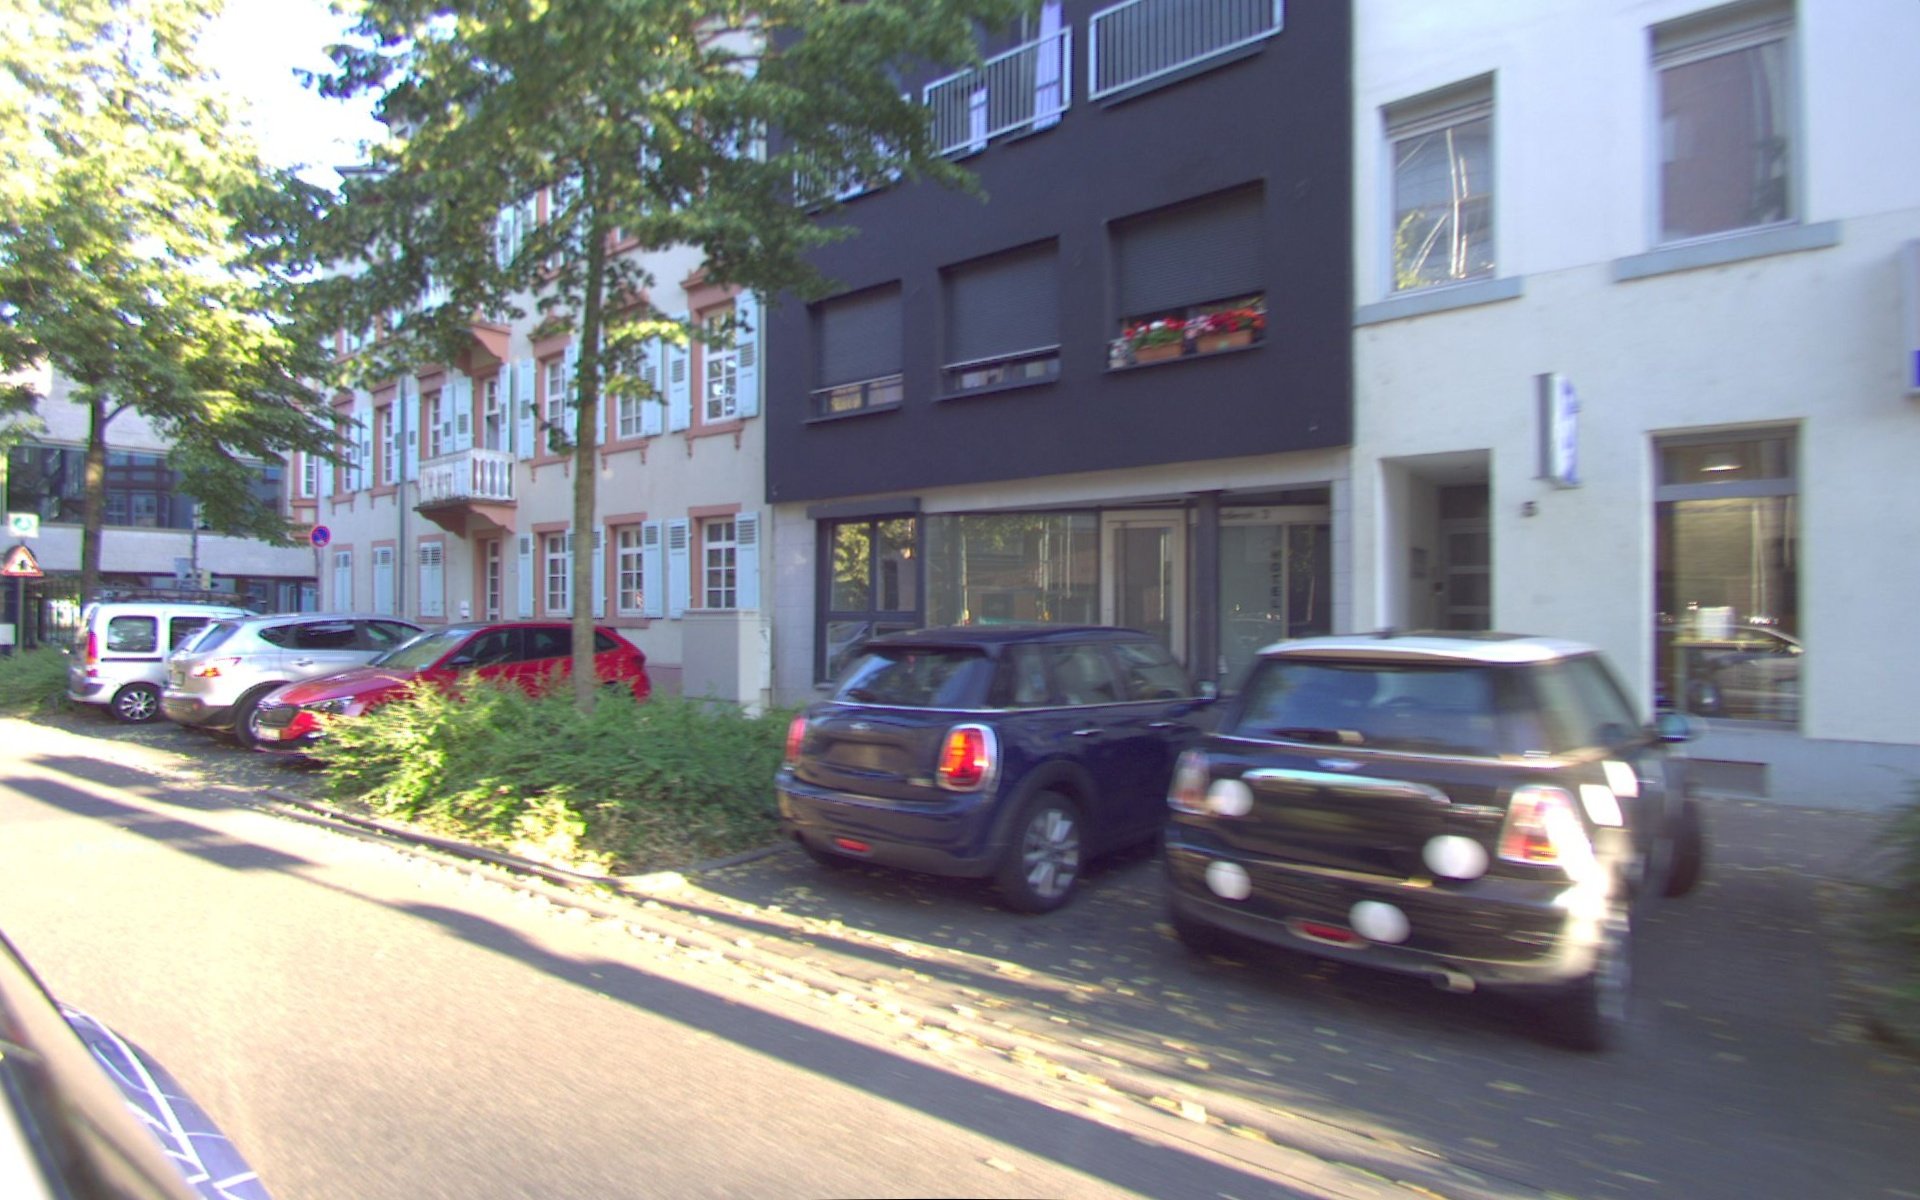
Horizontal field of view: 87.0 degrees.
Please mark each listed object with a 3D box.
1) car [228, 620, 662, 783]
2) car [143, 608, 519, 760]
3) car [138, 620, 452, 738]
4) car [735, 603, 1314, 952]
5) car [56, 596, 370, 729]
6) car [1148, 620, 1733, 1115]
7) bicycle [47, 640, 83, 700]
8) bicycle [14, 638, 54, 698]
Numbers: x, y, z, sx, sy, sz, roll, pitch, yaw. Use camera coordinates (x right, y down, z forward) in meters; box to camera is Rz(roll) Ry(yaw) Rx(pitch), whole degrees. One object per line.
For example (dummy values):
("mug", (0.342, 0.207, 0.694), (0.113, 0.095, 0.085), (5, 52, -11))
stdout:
("car", (-5.717, 0.998, 11.749), (1.758, 1.528, 4.171), (-1, -1, 35))
("car", (-7.921, 0.926, 12.999), (1.741, 1.597, 3.785), (0, 0, 41))
("car", (-9.734, 1.058, 14.999), (1.649, 1.526, 3.609), (-1, -2, 44))
("car", (0.672, 0.796, 6.544), (1.855, 1.529, 3.855), (-1, -1, 39))
("car", (-11.809, 0.918, 16.177), (1.700, 1.863, 3.770), (-1, -1, 42))
("car", (2.489, 0.820, 4.808), (1.686, 1.402, 3.361), (-1, -1, 41))
("bicycle", (-18.139, 1.397, 20.494), (1.596, 1.149, 0.327), (-1, 0, 41))
("bicycle", (-18.521, 1.338, 20.223), (1.711, 1.116, 0.391), (0, 1, 41))
